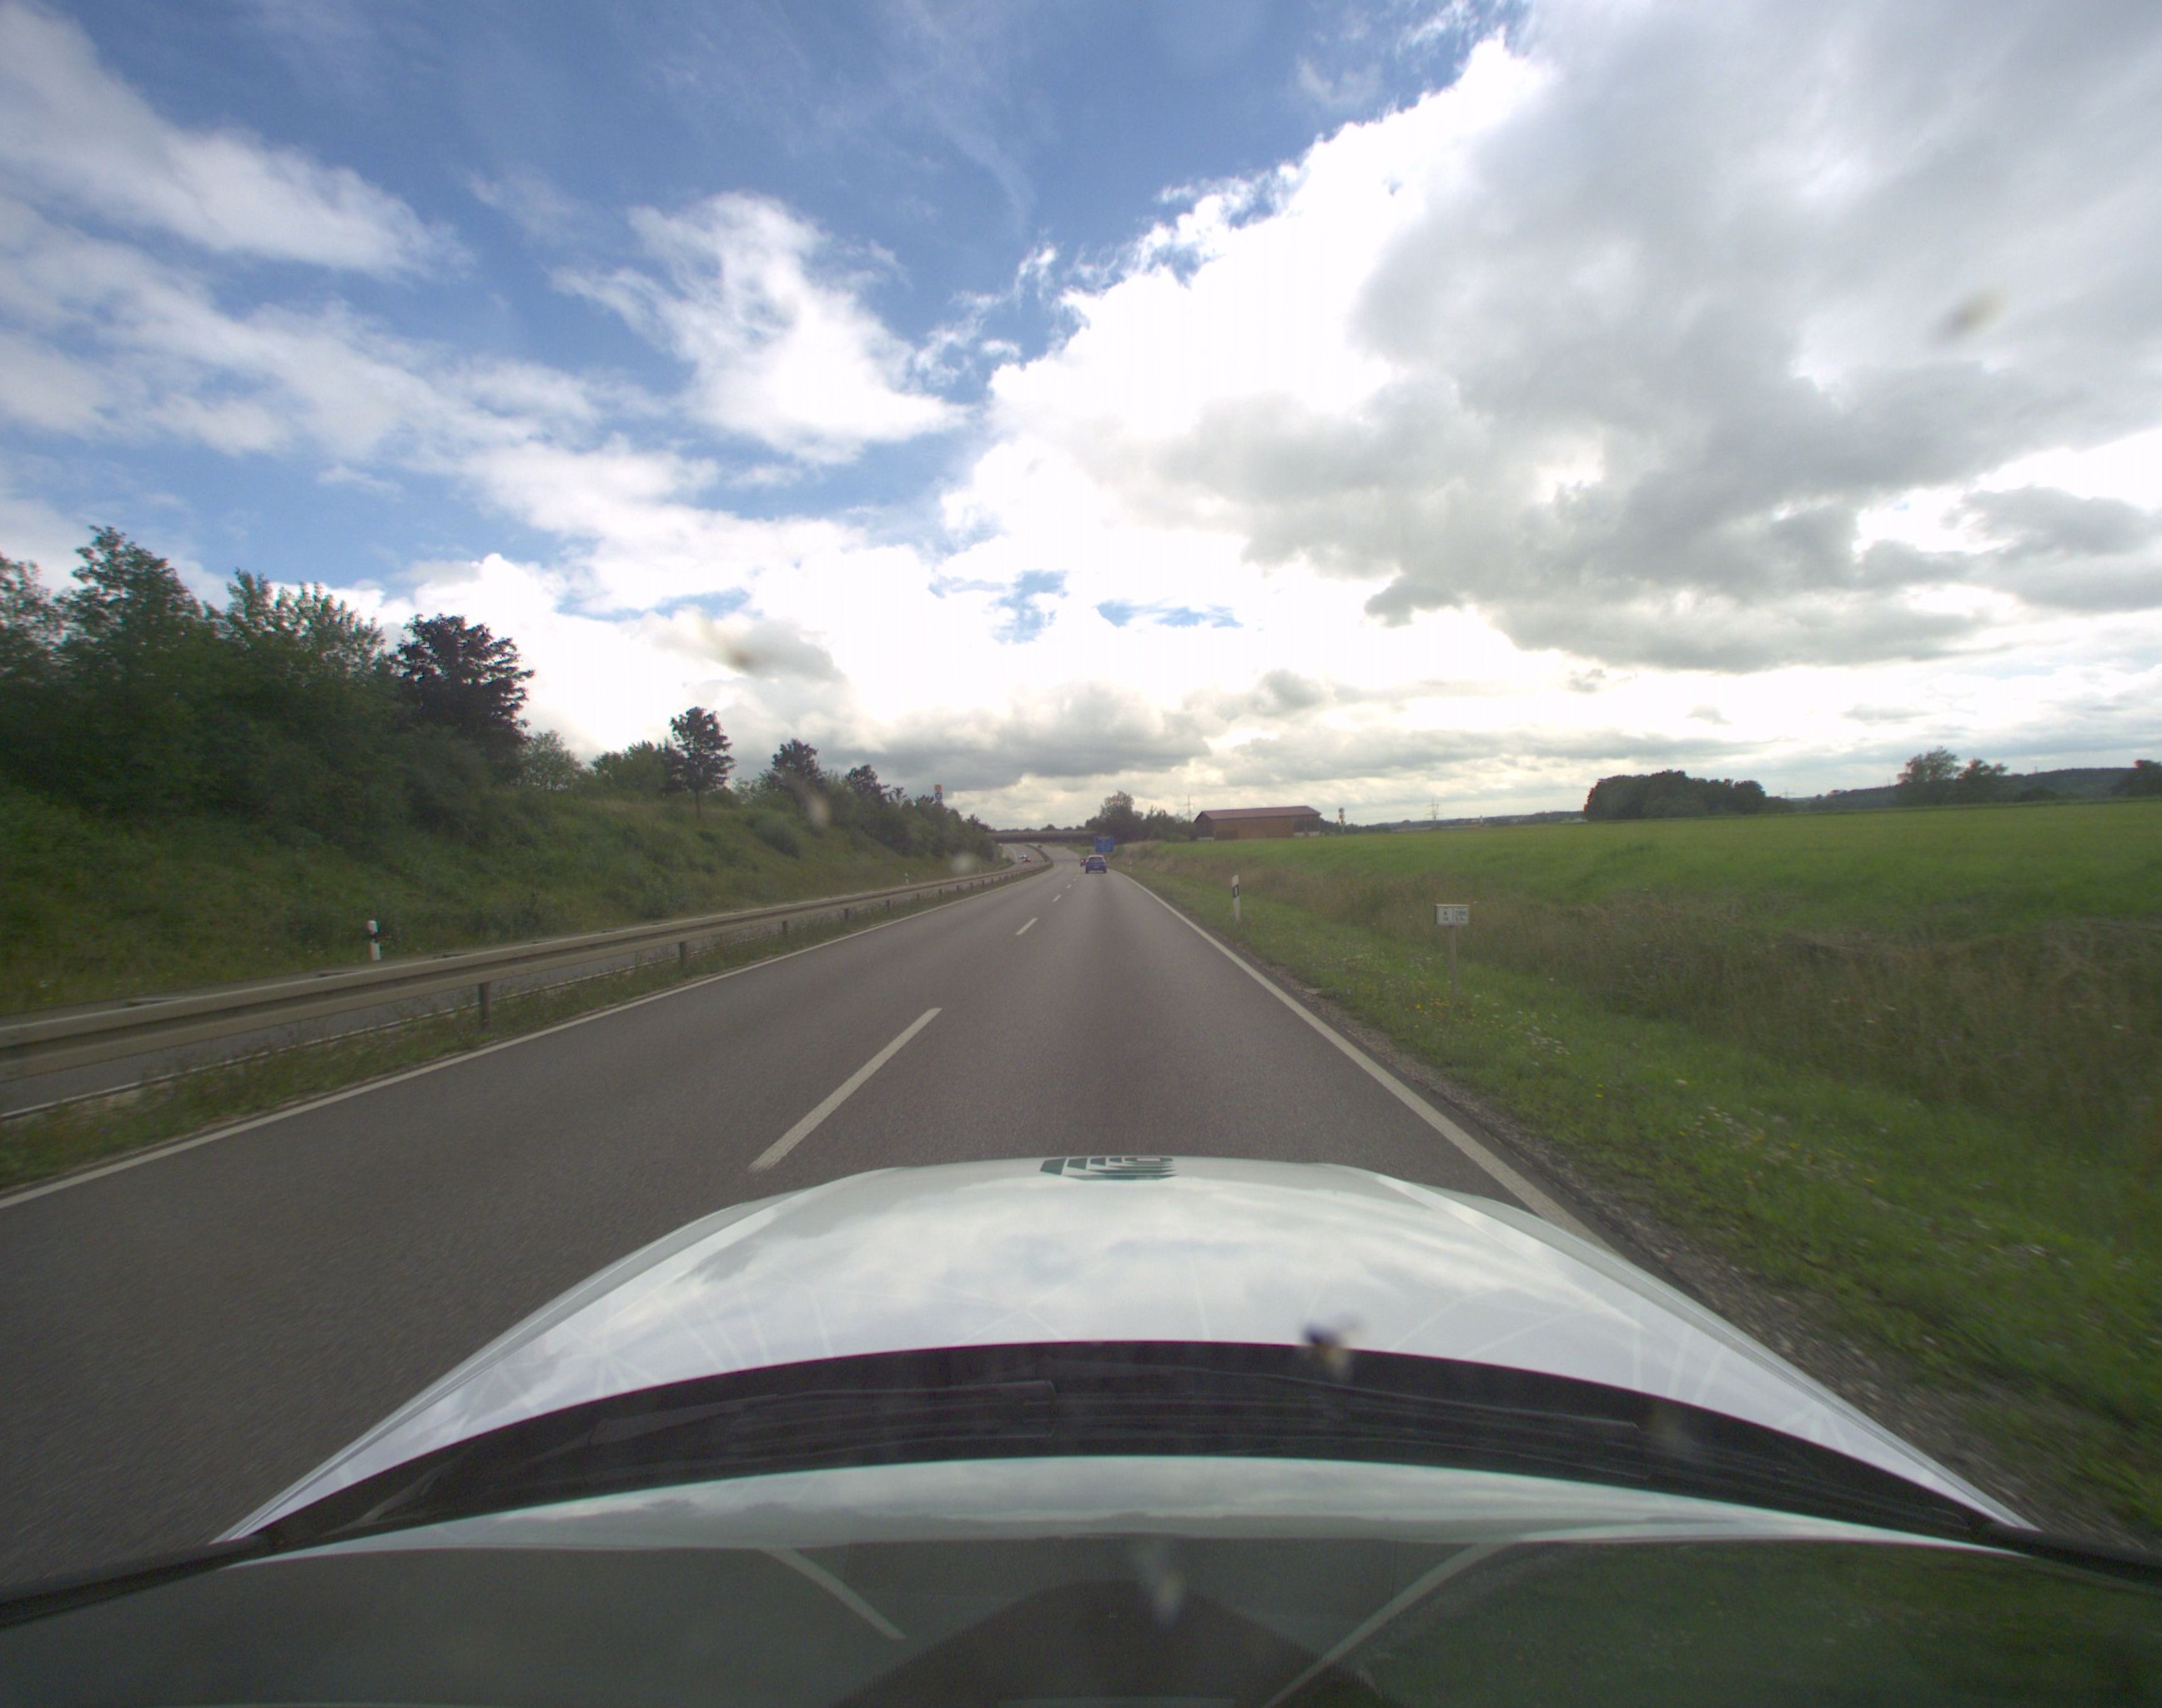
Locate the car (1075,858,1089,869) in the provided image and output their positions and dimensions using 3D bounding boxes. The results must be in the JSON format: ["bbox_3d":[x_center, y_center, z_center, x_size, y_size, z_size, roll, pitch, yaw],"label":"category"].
[{"bbox_3d":[0.120,1.541,131.705,1.913,1.453,4.360,-3,1,-3],"label":"car"}]

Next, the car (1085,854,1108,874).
[{"bbox_3d":[1.407,0.873,74.686,2.026,1.660,4.544,-1,1,0],"label":"car"}]

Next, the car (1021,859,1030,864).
[{"bbox_3d":[-14.468,1.932,212.136,1.987,1.304,4.821,-3,0,0],"label":"car"}]

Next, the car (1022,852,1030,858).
[{"bbox_3d":[-16.637,0.251,246.362,1.988,1.453,3.998,-3,1,-1],"label":"car"}]
